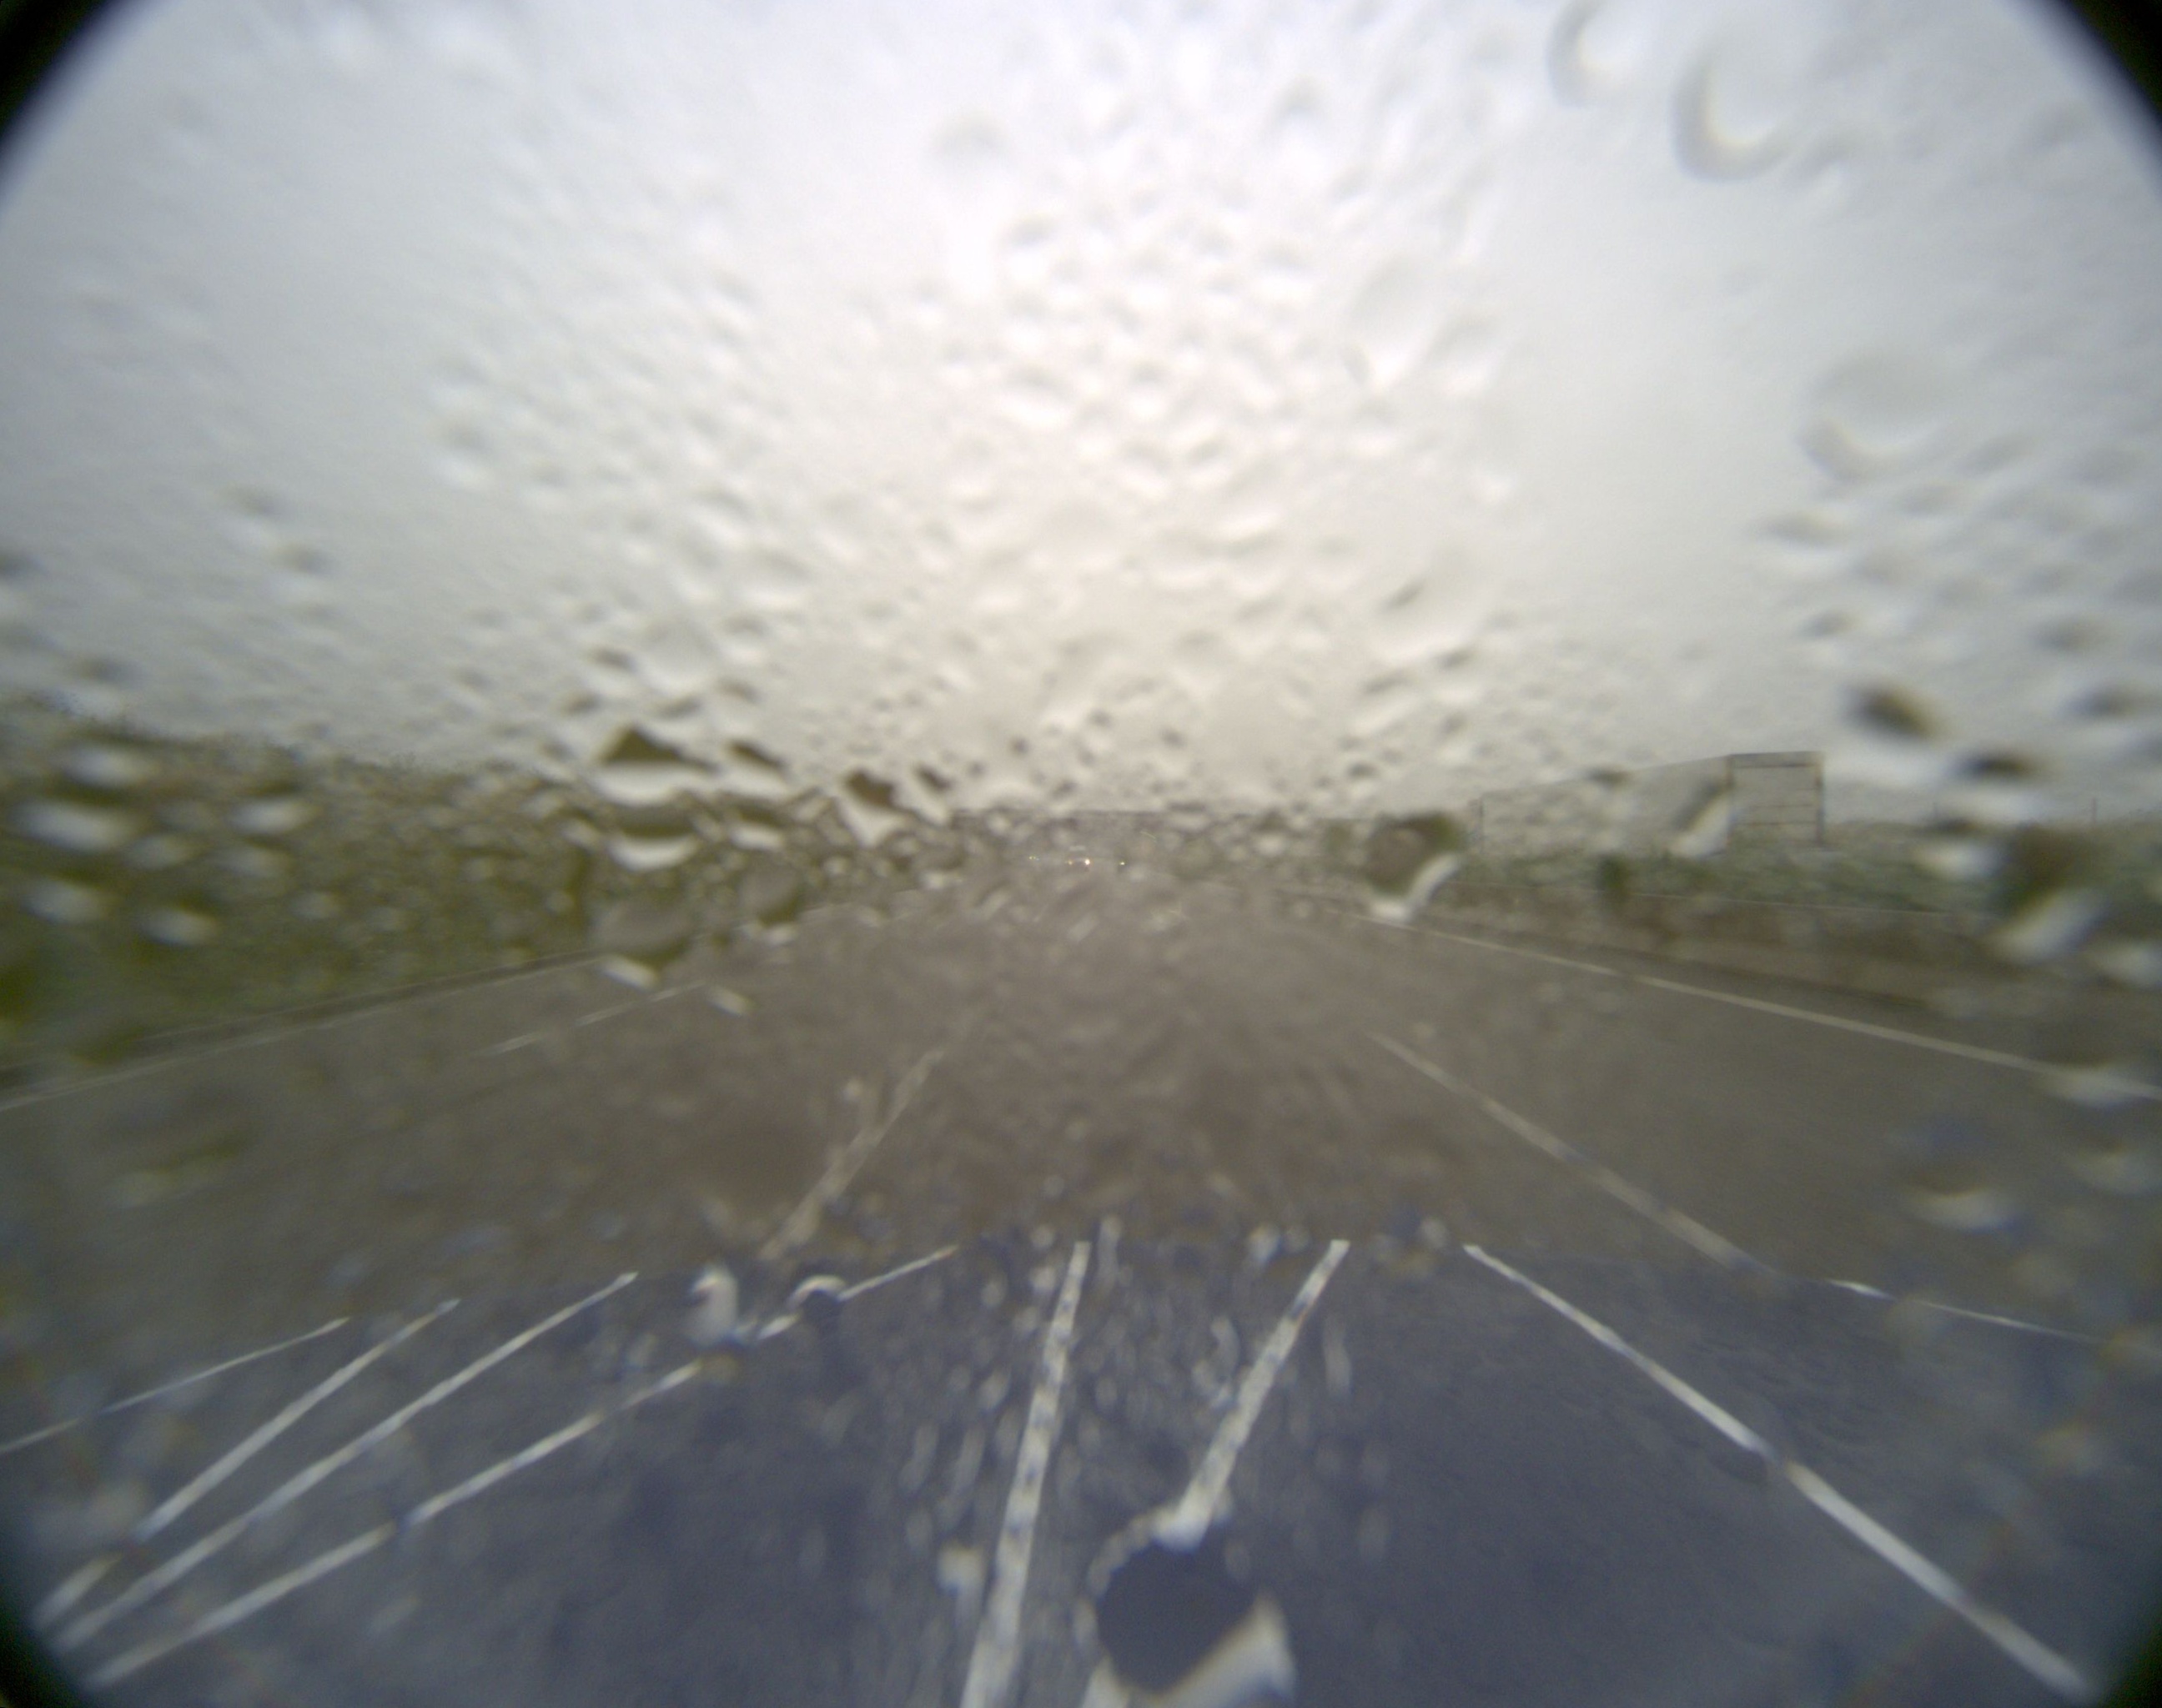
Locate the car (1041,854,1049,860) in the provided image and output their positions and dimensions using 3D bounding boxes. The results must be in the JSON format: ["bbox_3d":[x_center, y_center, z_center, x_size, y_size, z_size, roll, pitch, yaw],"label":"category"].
[{"bbox_3d":[-9.479,0.883,200.747,1.998,1.543,4.000,-2,0,0],"label":"car"}]

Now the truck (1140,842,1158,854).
[{"bbox_3d":[12.904,-1.164,144.266,2.481,2.143,7.422,-2,2,-1],"label":"truck"}]

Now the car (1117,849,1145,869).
[{"bbox_3d":[4.253,0.401,65.098,1.999,1.608,3.999,-1,0,-1],"label":"car"}]

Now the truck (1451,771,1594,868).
[{"bbox_3d":[20.036,-1.453,34.971,2.960,3.970,6.216,-2,0,1],"label":"truck"}]

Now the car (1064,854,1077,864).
[{"bbox_3d":[-1.818,0.761,126.385,1.999,1.521,3.999,-1,0,-3],"label":"car"}]

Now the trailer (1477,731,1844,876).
[{"bbox_3d":[19.919,-1.427,28.395,2.951,3.959,14.305,-2,0,1],"label":"trailer"}]

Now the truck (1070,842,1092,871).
[{"bbox_3d":[-0.059,0.156,77.177,1.999,2.699,7.996,-2,2,-2],"label":"truck"}]
